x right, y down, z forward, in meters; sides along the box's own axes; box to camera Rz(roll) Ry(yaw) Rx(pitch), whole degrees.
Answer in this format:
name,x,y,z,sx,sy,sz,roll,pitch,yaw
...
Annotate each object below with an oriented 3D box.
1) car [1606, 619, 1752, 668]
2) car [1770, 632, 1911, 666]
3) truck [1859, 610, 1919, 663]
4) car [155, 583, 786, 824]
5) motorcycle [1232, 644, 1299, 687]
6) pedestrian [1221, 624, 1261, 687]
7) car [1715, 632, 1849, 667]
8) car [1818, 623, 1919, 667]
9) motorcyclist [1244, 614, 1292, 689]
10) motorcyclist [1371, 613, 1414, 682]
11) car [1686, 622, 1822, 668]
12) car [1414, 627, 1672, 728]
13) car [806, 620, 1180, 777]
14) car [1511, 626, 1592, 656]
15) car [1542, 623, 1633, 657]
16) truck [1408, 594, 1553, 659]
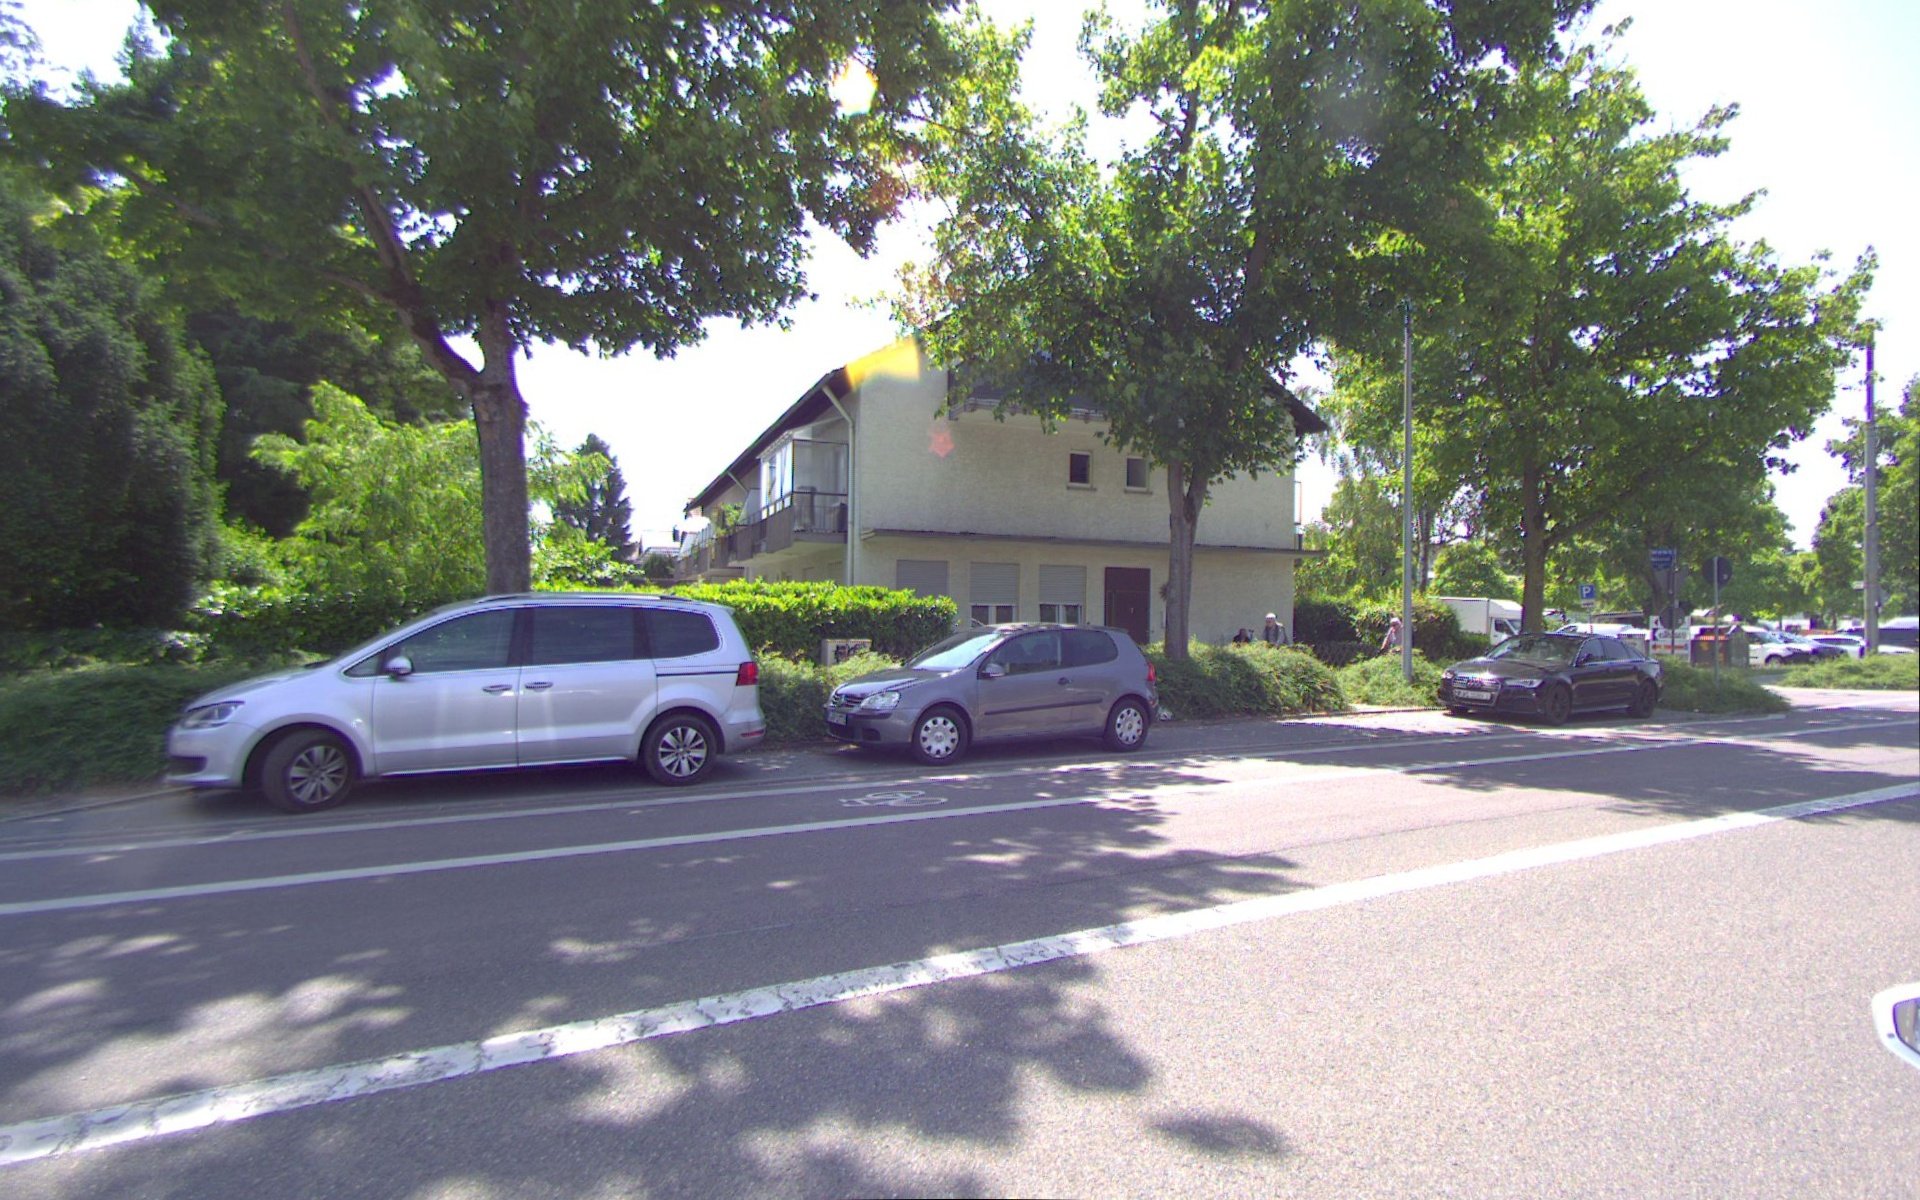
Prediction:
name,x,y,z,sx,sy,sz,roll,pitch,yaw
car,29.075,1.720,40.748,2.039,1.881,4.421,1,-1,-33
car,42.358,2.317,48.425,2.034,1.508,4.738,1,-1,-30
truck,51.810,1.932,53.368,2.402,2.796,5.556,1,-1,-28
car,-4.118,0.773,9.102,4.630,1.711,1.962,1,0,-29
motorcycle,6.373,1.362,20.953,1.354,0.837,0.523,1,2,-29
pedestrian,6.958,1.360,24.921,0.599,1.530,0.792,1,-1,-23
car,35.936,2.135,44.004,2.059,1.422,4.171,1,-2,-33
car,45.154,2.174,49.387,1.835,2.021,4.189,1,-1,-30
motorcyclist,6.424,1.061,20.963,0.716,1.523,0.584,1,2,-29
motorcyclist,9.905,1.075,22.997,0.654,1.523,0.584,1,2,-29
car,33.574,1.870,42.591,1.651,1.860,4.251,1,-1,-27
car,10.133,1.248,17.363,4.757,1.476,1.883,1,0,-33
car,0.441,1.026,11.661,4.080,1.506,1.668,1,0,-31
car,34.589,2.384,58.841,1.712,1.597,3.729,1,-1,-30
car,36.945,2.345,59.224,1.948,1.844,4.108,2,-1,-30
truck,28.142,1.369,54.632,2.126,3.270,6.942,1,-1,-31
